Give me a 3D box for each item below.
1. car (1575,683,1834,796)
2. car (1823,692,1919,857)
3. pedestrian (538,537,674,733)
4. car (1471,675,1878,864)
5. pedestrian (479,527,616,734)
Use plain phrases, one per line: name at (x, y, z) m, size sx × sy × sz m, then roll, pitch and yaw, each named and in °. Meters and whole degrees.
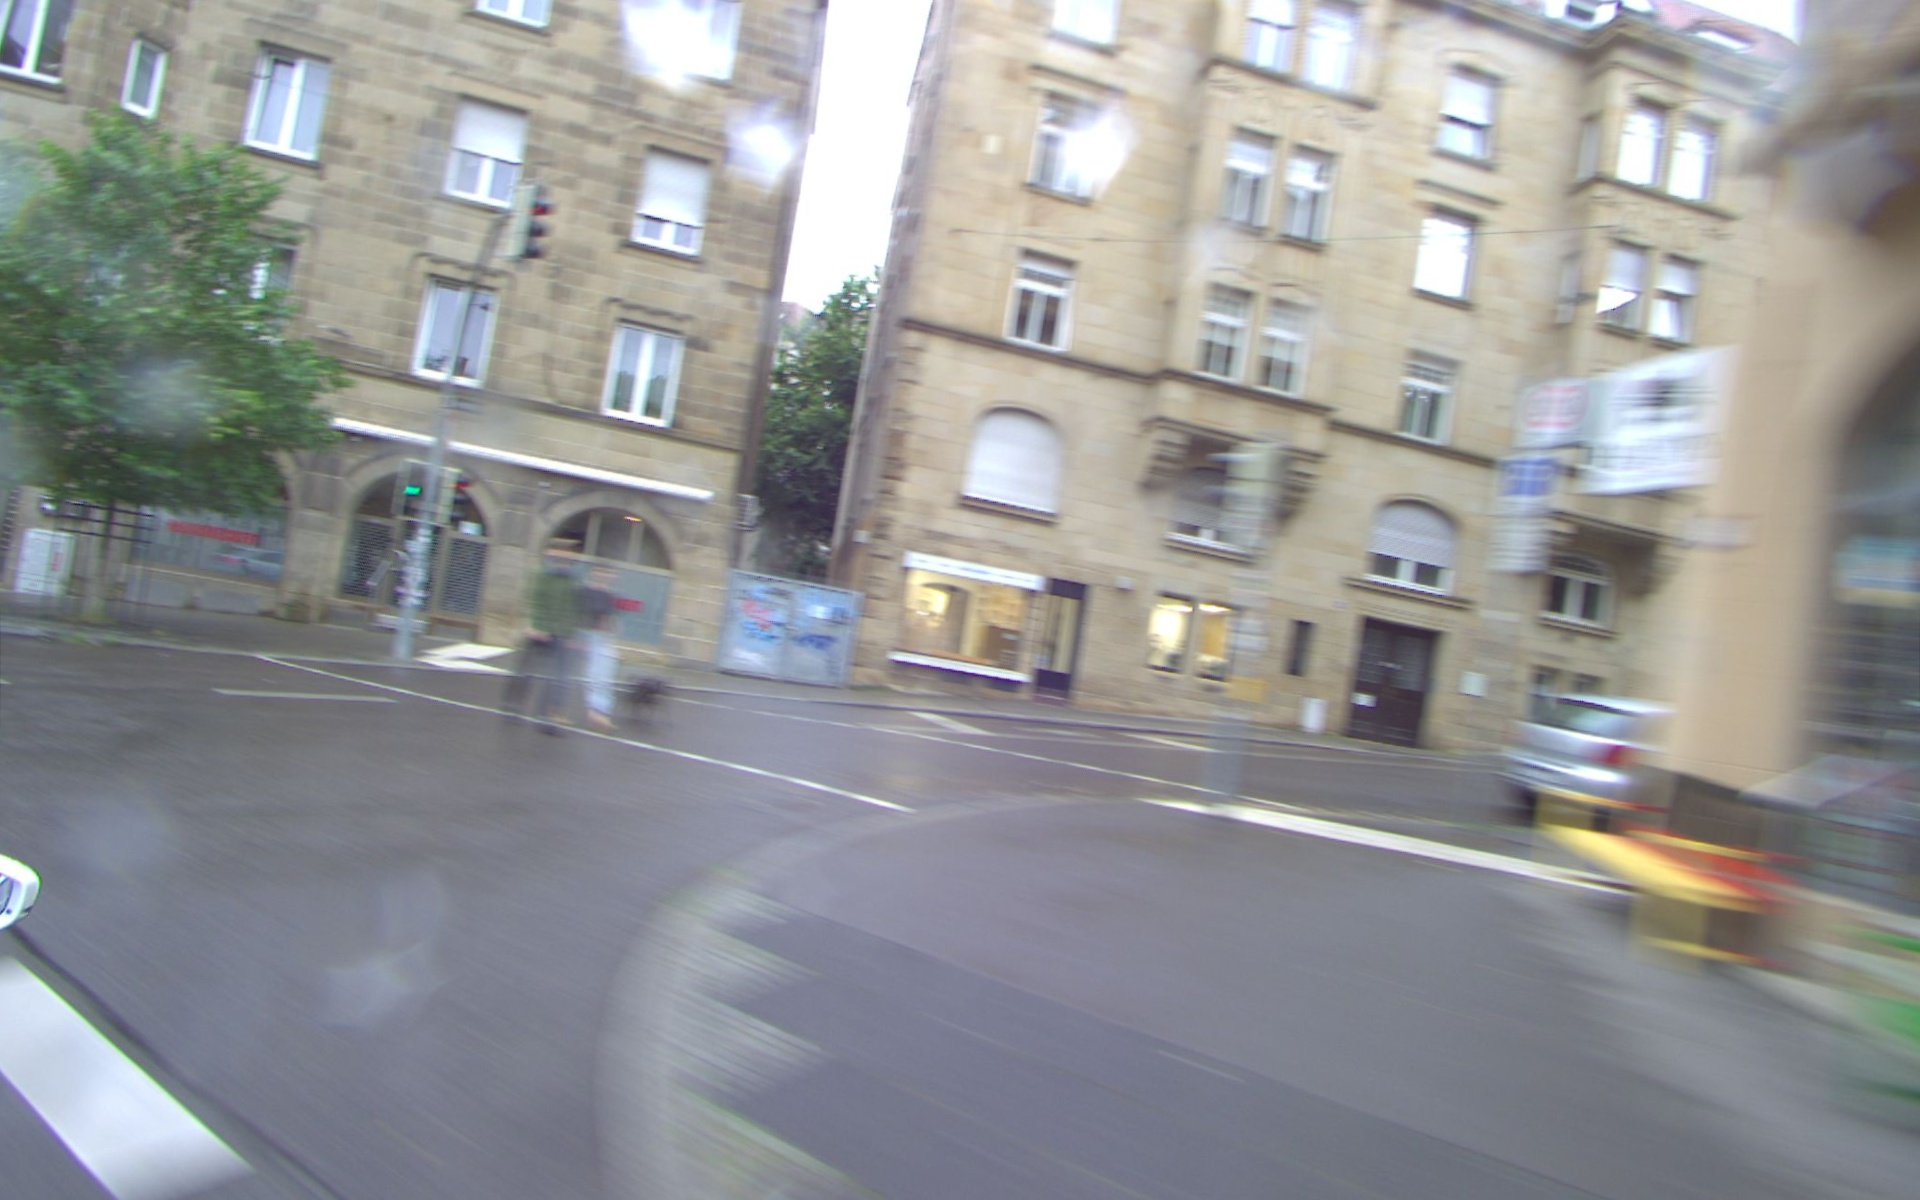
car at (14.769, 2.752, 20.010) m, size 4.287 × 1.743 × 1.746 m, roll 7°, pitch -5°, yaw -13°
car at (12.975, 2.300, 12.434) m, size 3.496 × 1.866 × 1.603 m, roll 7°, pitch -1°, yaw -12°
pedestrian at (-3.520, 0.346, 10.016) m, size 0.886 × 1.810 × 0.683 m, roll 6°, pitch -1°, yaw 29°
car at (7.897, 1.856, 11.247) m, size 3.477 × 1.478 × 1.687 m, roll 8°, pitch 0°, yaw -12°
pedestrian at (-3.868, 0.279, 9.447) m, size 0.876 × 1.810 × 0.595 m, roll 6°, pitch -1°, yaw 29°
